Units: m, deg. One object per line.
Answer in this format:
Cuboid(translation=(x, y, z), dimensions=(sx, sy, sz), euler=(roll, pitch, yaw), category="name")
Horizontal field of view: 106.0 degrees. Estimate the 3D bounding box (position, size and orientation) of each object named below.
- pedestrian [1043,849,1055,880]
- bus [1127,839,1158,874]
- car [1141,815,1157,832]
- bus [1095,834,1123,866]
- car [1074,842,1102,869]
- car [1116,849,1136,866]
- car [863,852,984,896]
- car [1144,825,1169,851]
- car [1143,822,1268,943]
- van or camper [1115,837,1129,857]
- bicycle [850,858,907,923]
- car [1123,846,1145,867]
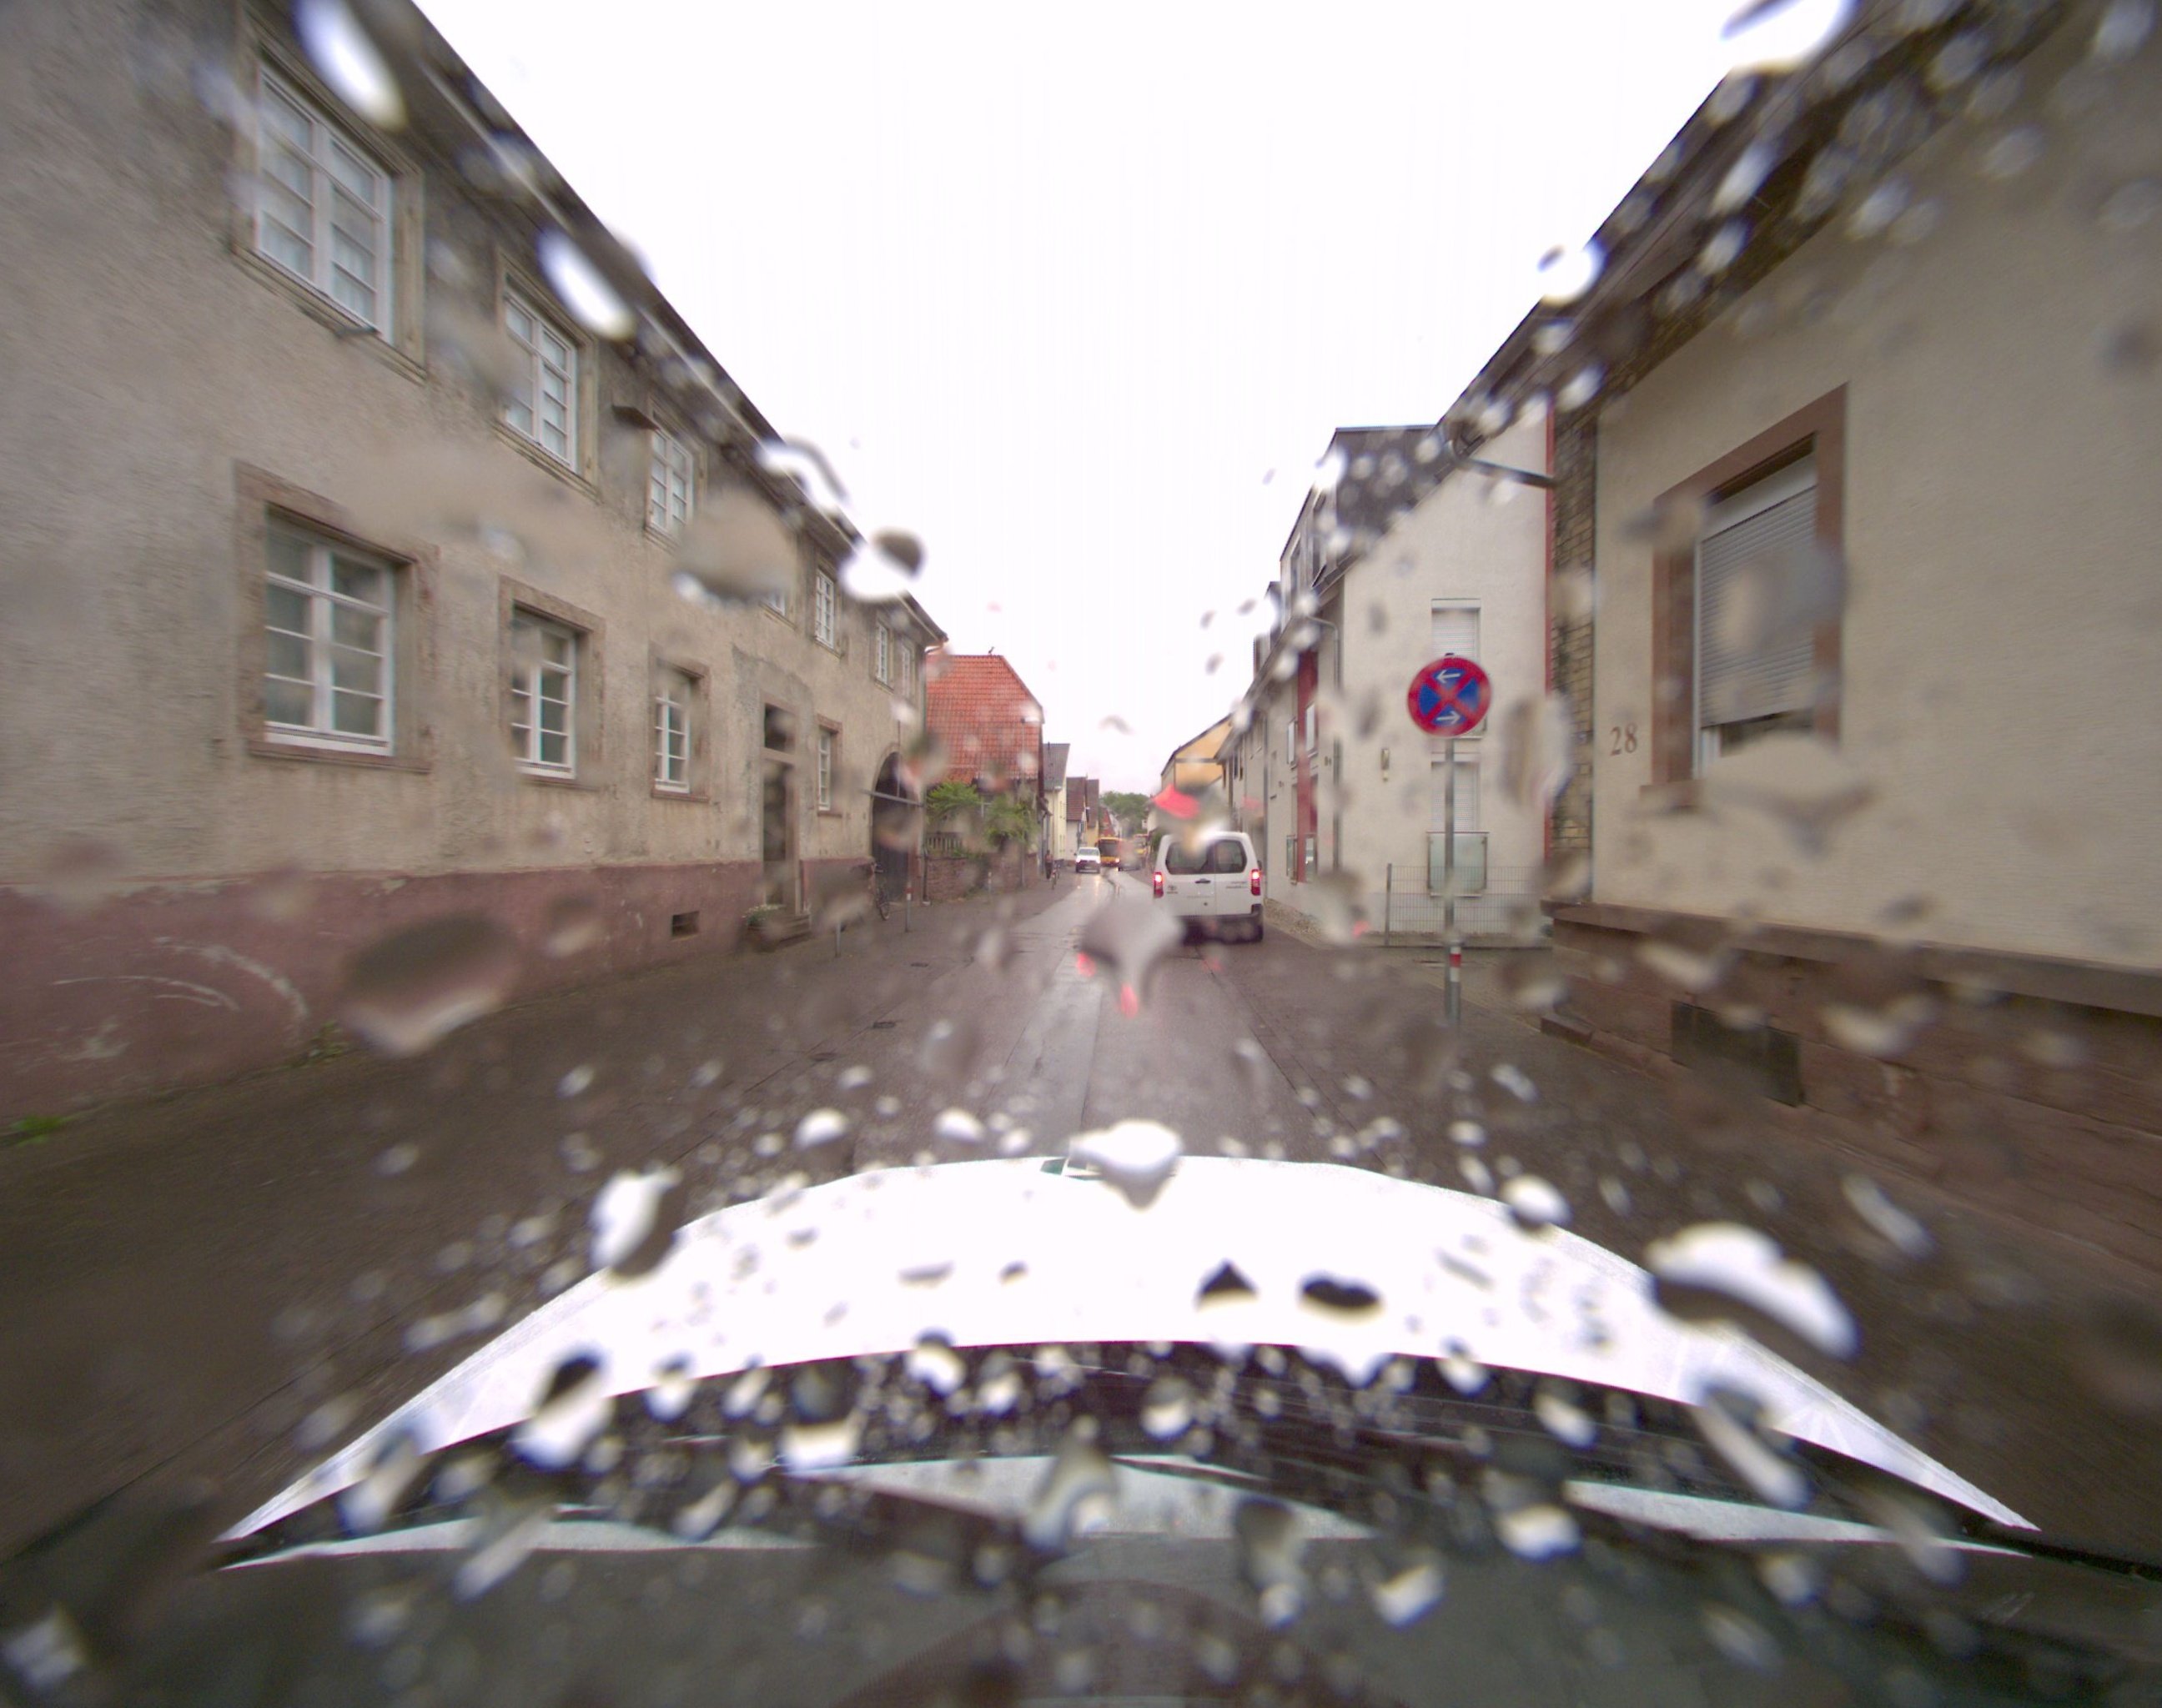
Cuboid(translation=(-1.623, 0.519, 41.364), dimensions=(0.567, 1.530, 0.568), euler=(-1, 0, -6), category="pedestrian")
Cuboid(translation=(5.933, 0.251, 80.026), dimensions=(2.782, 3.180, 8.184), euler=(2, 0, 3), category="bus")
Cuboid(translation=(8.742, -3.873, 105.092), dimensions=(1.984, 2.014, 4.005), euler=(1, 0, 4), category="car")
Cuboid(translation=(3.220, -0.390, 91.090), dimensions=(2.782, 3.329, 8.184), euler=(2, 0, 3), category="bus")
Cuboid(translation=(0.606, 0.095, 62.772), dimensions=(1.884, 1.967, 4.727), euler=(1, 0, 3), category="car")
Cuboid(translation=(3.870, 0.297, 69.597), dimensions=(1.555, 1.371, 3.588), euler=(1, 0, 4), category="car")
Cuboid(translation=(-5.061, 0.629, 26.415), dimensions=(3.510, 1.376, 1.597), euler=(0, 0, 5), category="car")
Cuboid(translation=(6.073, -1.258, 66.055), dimensions=(1.819, 2.014, 3.697), euler=(1, 0, 3), category="car")
Cuboid(translation=(2.069, 0.447, 14.599), dimensions=(1.787, 1.819, 4.104), euler=(-2, 0, 3), category="car")
Cuboid(translation=(6.347, -1.052, 126.130), dimensions=(1.826, 2.925, 5.370), euler=(1, 0, 5), category="van or camper")
Cuboid(translation=(-3.944, 0.683, 15.972), dimensions=(0.481, 1.180, 1.838), euler=(1, 0, 5), category="bicycle")
Cuboid(translation=(3.920, 0.171, 60.550), dimensions=(1.555, 1.480, 3.588), euler=(1, 0, 4), category="car")
